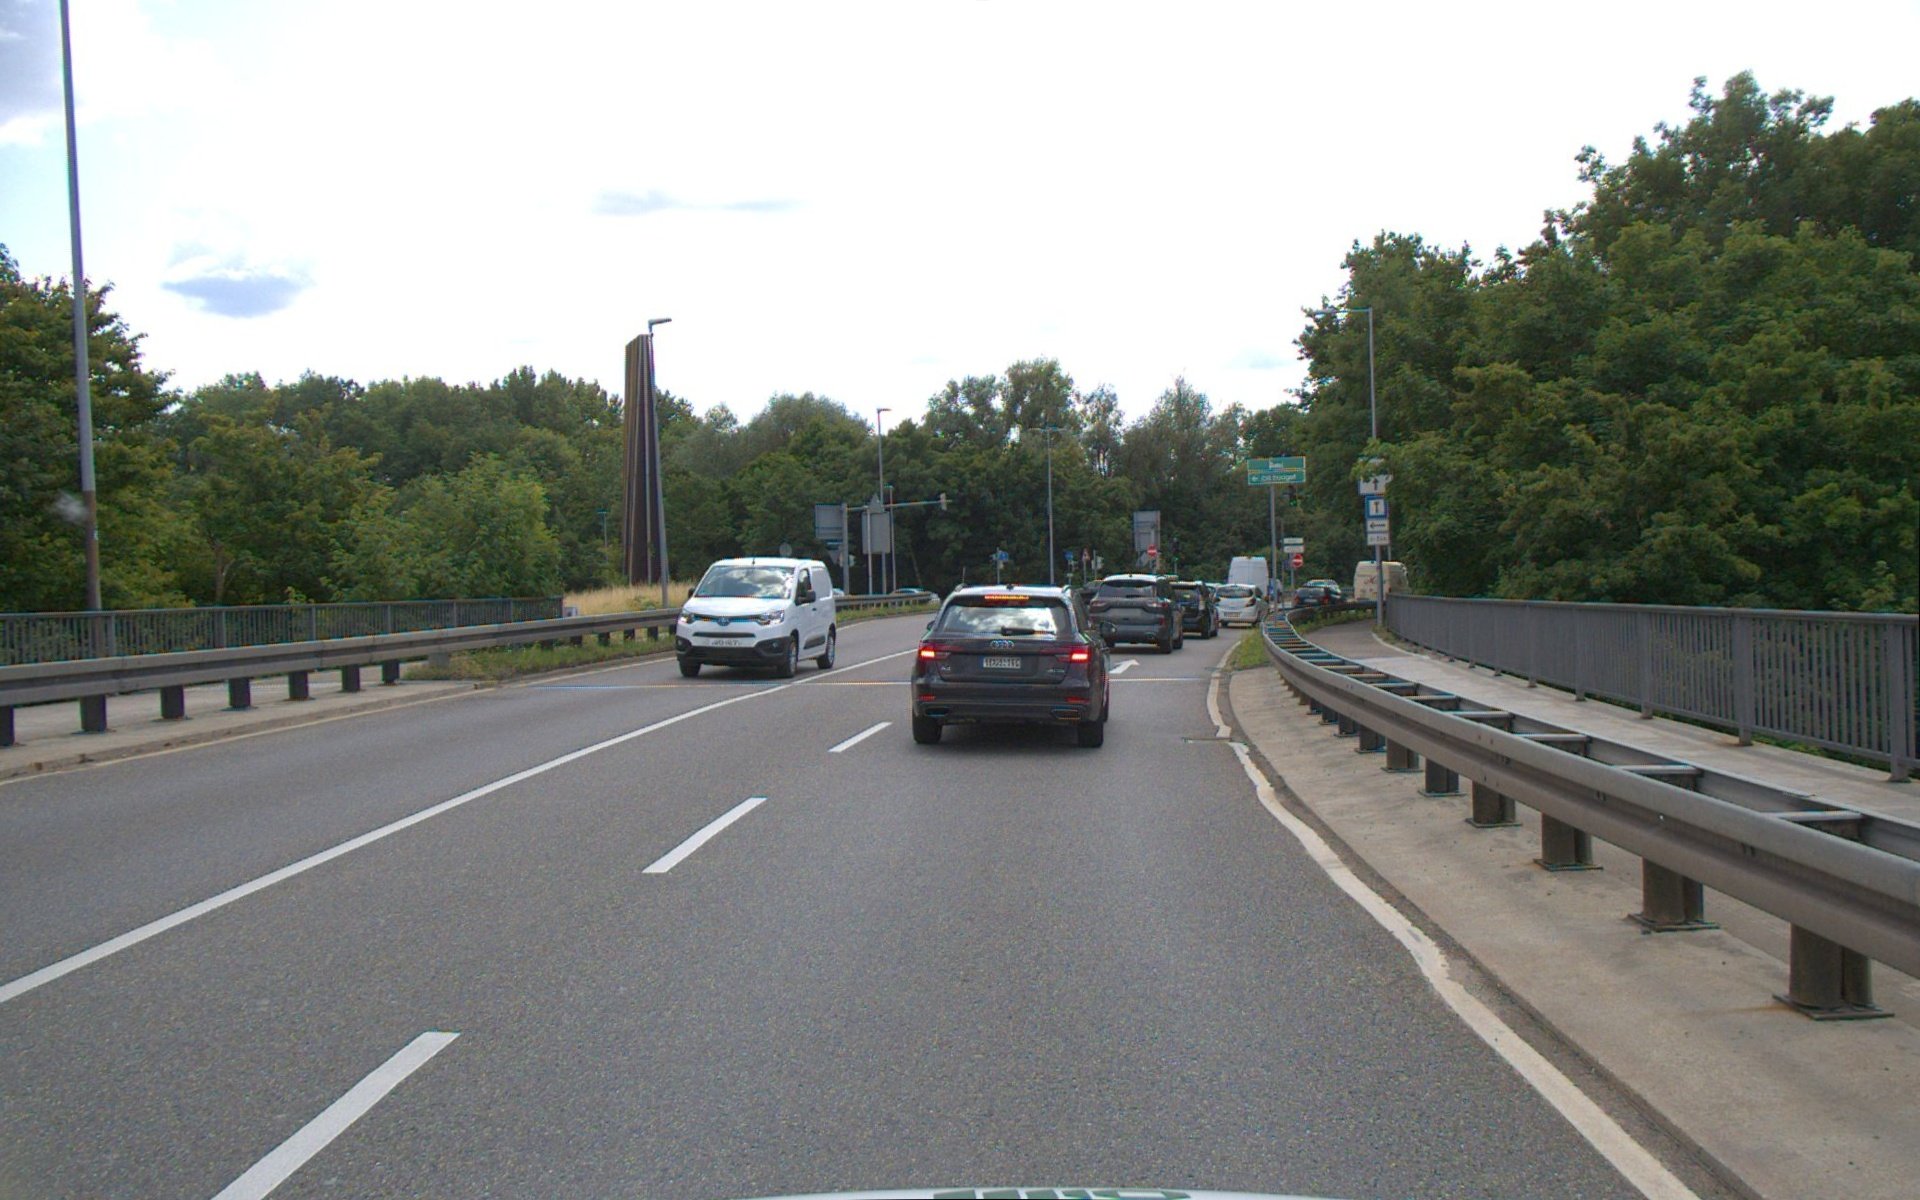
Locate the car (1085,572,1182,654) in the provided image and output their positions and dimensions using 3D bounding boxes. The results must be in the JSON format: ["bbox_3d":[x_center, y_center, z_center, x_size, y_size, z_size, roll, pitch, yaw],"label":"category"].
[{"bbox_3d":[3.843,0.240,36.221,1.782,1.680,3.859,1,1,11],"label":"car"}]

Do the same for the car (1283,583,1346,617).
[{"bbox_3d":[15.215,-0.027,70.963,1.651,1.422,3.673,0,0,29],"label":"car"}]

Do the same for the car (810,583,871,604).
[{"bbox_3d":[-6.905,-0.384,95.569,3.527,1.136,1.584,1,1,43],"label":"car"}]

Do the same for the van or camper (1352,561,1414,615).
[{"bbox_3d":[21.178,-0.622,82.737,1.957,2.635,4.081,1,2,30],"label":"van or camper"}]

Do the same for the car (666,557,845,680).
[{"bbox_3d":[-3.162,0.245,26.421,1.774,1.784,4.309,1,1,8],"label":"car"}]

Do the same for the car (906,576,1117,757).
[{"bbox_3d":[0.634,0.539,16.242,1.789,1.517,4.210,0,1,6],"label":"car"}]

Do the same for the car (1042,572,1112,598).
[{"bbox_3d":[6.837,-0.907,96.331,3.724,1.395,1.671,1,2,25],"label":"car"}]

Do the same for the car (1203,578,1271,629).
[{"bbox_3d":[9.533,0.102,56.775,1.697,1.680,3.857,0,0,19],"label":"car"}]

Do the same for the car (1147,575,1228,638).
[{"bbox_3d":[6.330,0.149,45.729,1.697,1.680,3.859,0,1,15],"label":"car"}]

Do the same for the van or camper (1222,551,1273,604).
[{"bbox_3d":[13.552,-1.035,78.057,2.224,2.381,5.245,1,0,10],"label":"van or camper"}]
